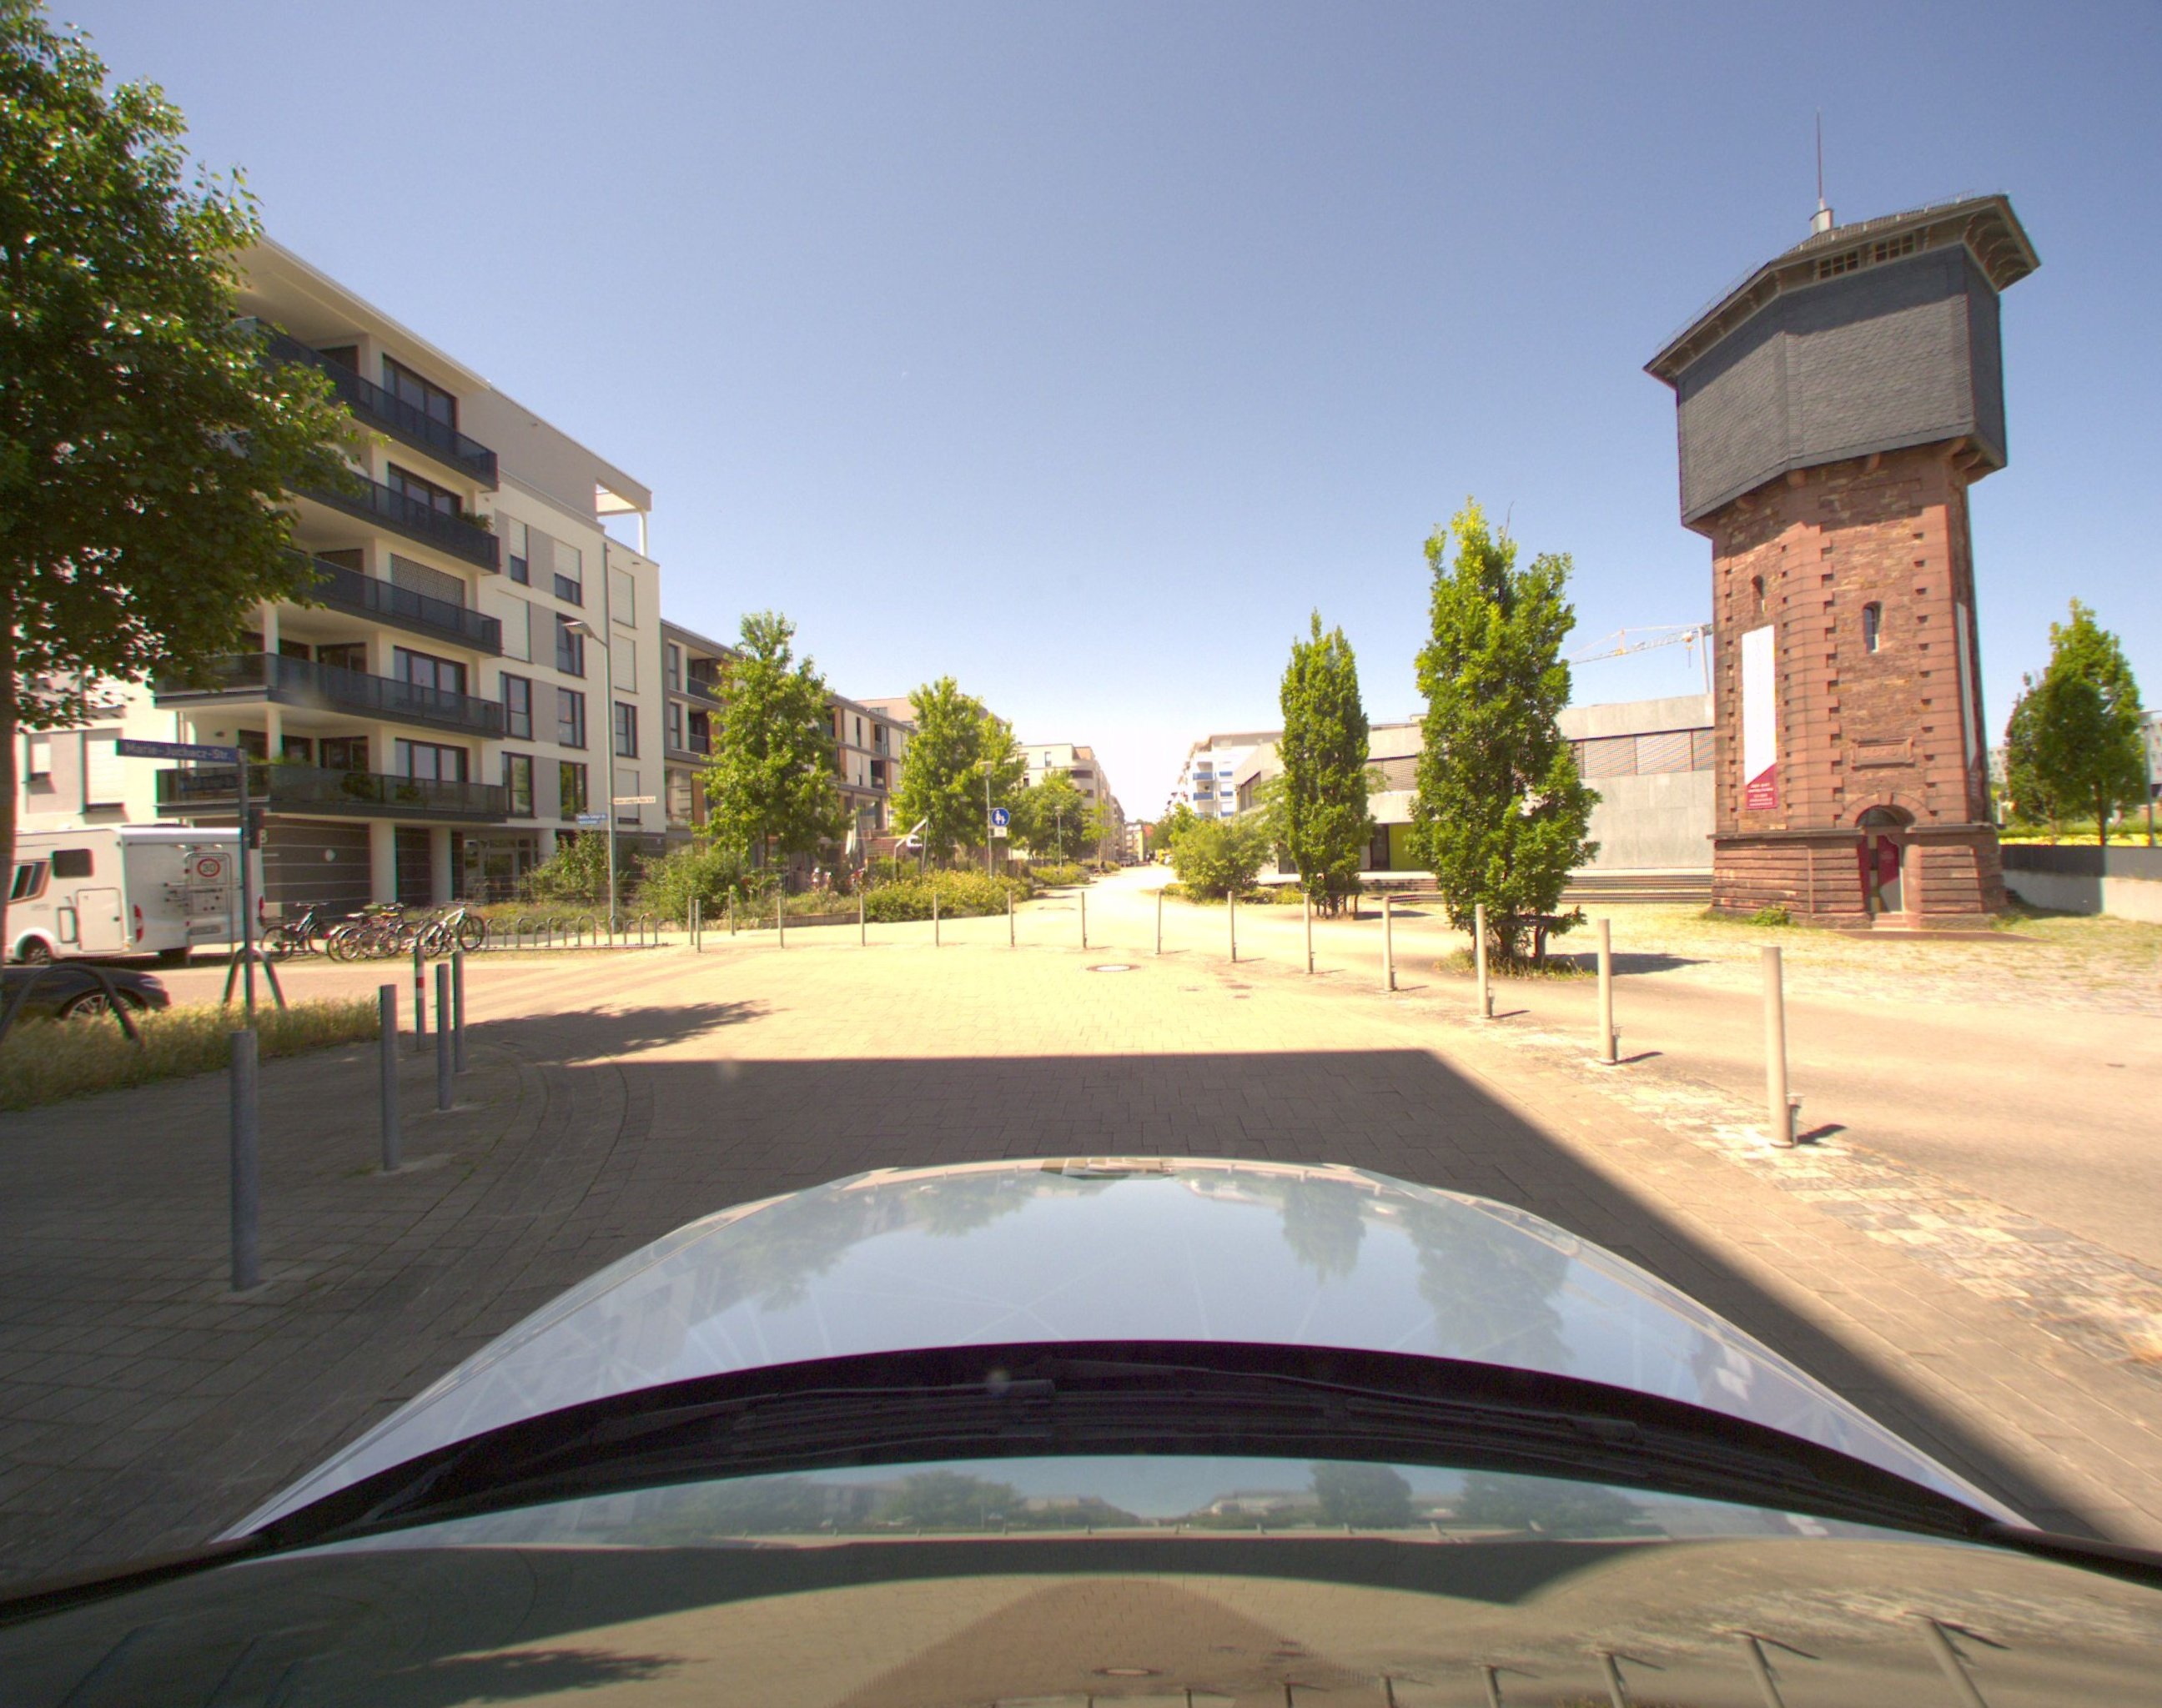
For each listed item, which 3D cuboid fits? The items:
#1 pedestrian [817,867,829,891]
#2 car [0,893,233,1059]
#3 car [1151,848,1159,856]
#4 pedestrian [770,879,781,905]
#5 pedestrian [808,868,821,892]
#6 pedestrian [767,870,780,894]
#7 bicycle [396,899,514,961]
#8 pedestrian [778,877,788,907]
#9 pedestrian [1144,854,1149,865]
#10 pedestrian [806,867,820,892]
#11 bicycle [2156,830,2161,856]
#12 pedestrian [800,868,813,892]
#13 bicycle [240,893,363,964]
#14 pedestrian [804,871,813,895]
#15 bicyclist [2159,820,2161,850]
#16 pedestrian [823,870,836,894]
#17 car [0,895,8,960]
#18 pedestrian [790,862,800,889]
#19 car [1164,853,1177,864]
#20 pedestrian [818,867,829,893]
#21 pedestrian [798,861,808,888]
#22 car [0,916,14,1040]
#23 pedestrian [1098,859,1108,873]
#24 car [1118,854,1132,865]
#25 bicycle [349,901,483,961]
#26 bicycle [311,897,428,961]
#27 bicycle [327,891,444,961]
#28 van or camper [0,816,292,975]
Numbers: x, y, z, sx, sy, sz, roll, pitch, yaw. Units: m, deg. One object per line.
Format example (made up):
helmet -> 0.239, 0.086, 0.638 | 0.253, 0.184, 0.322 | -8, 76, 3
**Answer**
pedestrian -> -11.109, 1.068, 35.092 | 0.395, 1.026, 0.411 | -2, -2, -2
car -> -11.235, 1.235, 7.117 | 1.911, 1.485, 5.125 | -3, -1, 7
car -> 20.082, -0.435, 221.907 | 1.984, 2.014, 4.005 | -2, -1, 4
pedestrian -> -17.912, 2.220, 47.755 | 0.391, 1.508, 0.466 | -2, -1, 37
pedestrian -> -11.595, 1.109, 35.399 | 0.310, 1.025, 0.414 | -3, -2, 40
pedestrian -> -12.780, 1.177, 33.828 | 0.414, 0.986, 0.366 | 0, -2, -41
bicycle -> -12.662, 1.505, 16.568 | 0.870, 1.003, 2.031 | -2, 1, -3
pedestrian -> -17.241, 2.213, 47.157 | 0.394, 1.691, 0.462 | -2, -1, -1
pedestrian -> 9.580, 0.780, 118.977 | 0.691, 1.529, 0.600 | -2, 0, 7
pedestrian -> -10.896, 1.041, 33.123 | 0.279, 1.025, 0.414 | -3, -2, 40
bicycle -> 51.362, -0.524, 38.303 | 0.583, 1.199, 1.953 | -3, -1, 42
pedestrian -> -11.774, 1.108, 34.900 | 0.310, 1.025, 0.414 | -3, -2, 40
bicycle -> -16.234, 1.524, 17.037 | 0.823, 1.222, 1.918 | -2, 2, -7
pedestrian -> -12.152, 1.286, 36.284 | 0.321, 1.053, 0.289 | -2, -1, -14
bicyclist -> 51.393, -0.904, 38.274 | 0.724, 1.435, 0.665 | -3, -1, 42
pedestrian -> -10.240, 1.139, 33.135 | 0.383, 0.971, 0.292 | -2, -1, 20
car -> -27.352, 1.826, 18.364 | 4.225, 1.504, 1.816 | -2, 1, 6
pedestrian -> -15.939, 1.196, 45.434 | 0.398, 1.508, 0.458 | -1, -1, -33
car -> 13.962, 0.655, 126.620 | 1.983, 1.609, 4.007 | -2, -1, 7
pedestrian -> -10.564, 1.081, 33.399 | 0.283, 1.053, 0.292 | -2, -1, 27
pedestrian -> -15.544, 1.167, 45.598 | 0.398, 1.508, 0.458 | -1, -1, -33
car -> -13.845, 1.409, 7.336 | 1.812, 1.449, 4.842 | -3, -3, 7
pedestrian -> 2.154, 1.163, 79.062 | 0.843, 1.348, 0.697 | -2, 0, 5
car -> 7.354, 0.919, 135.794 | 2.135, 1.652, 4.095 | -2, -1, 6
bicycle -> -13.597, 1.553, 16.723 | 0.934, 0.975, 1.869 | -2, 1, 21
bicycle -> -14.603, 1.507, 16.792 | 0.471, 1.110, 1.895 | -2, 0, 10
bicycle -> -14.234, 1.442, 16.746 | 0.550, 1.222, 1.861 | -2, 1, 10
van or camper -> -21.281, 0.927, 17.022 | 7.759, 2.906, 2.452 | -3, -1, 7
